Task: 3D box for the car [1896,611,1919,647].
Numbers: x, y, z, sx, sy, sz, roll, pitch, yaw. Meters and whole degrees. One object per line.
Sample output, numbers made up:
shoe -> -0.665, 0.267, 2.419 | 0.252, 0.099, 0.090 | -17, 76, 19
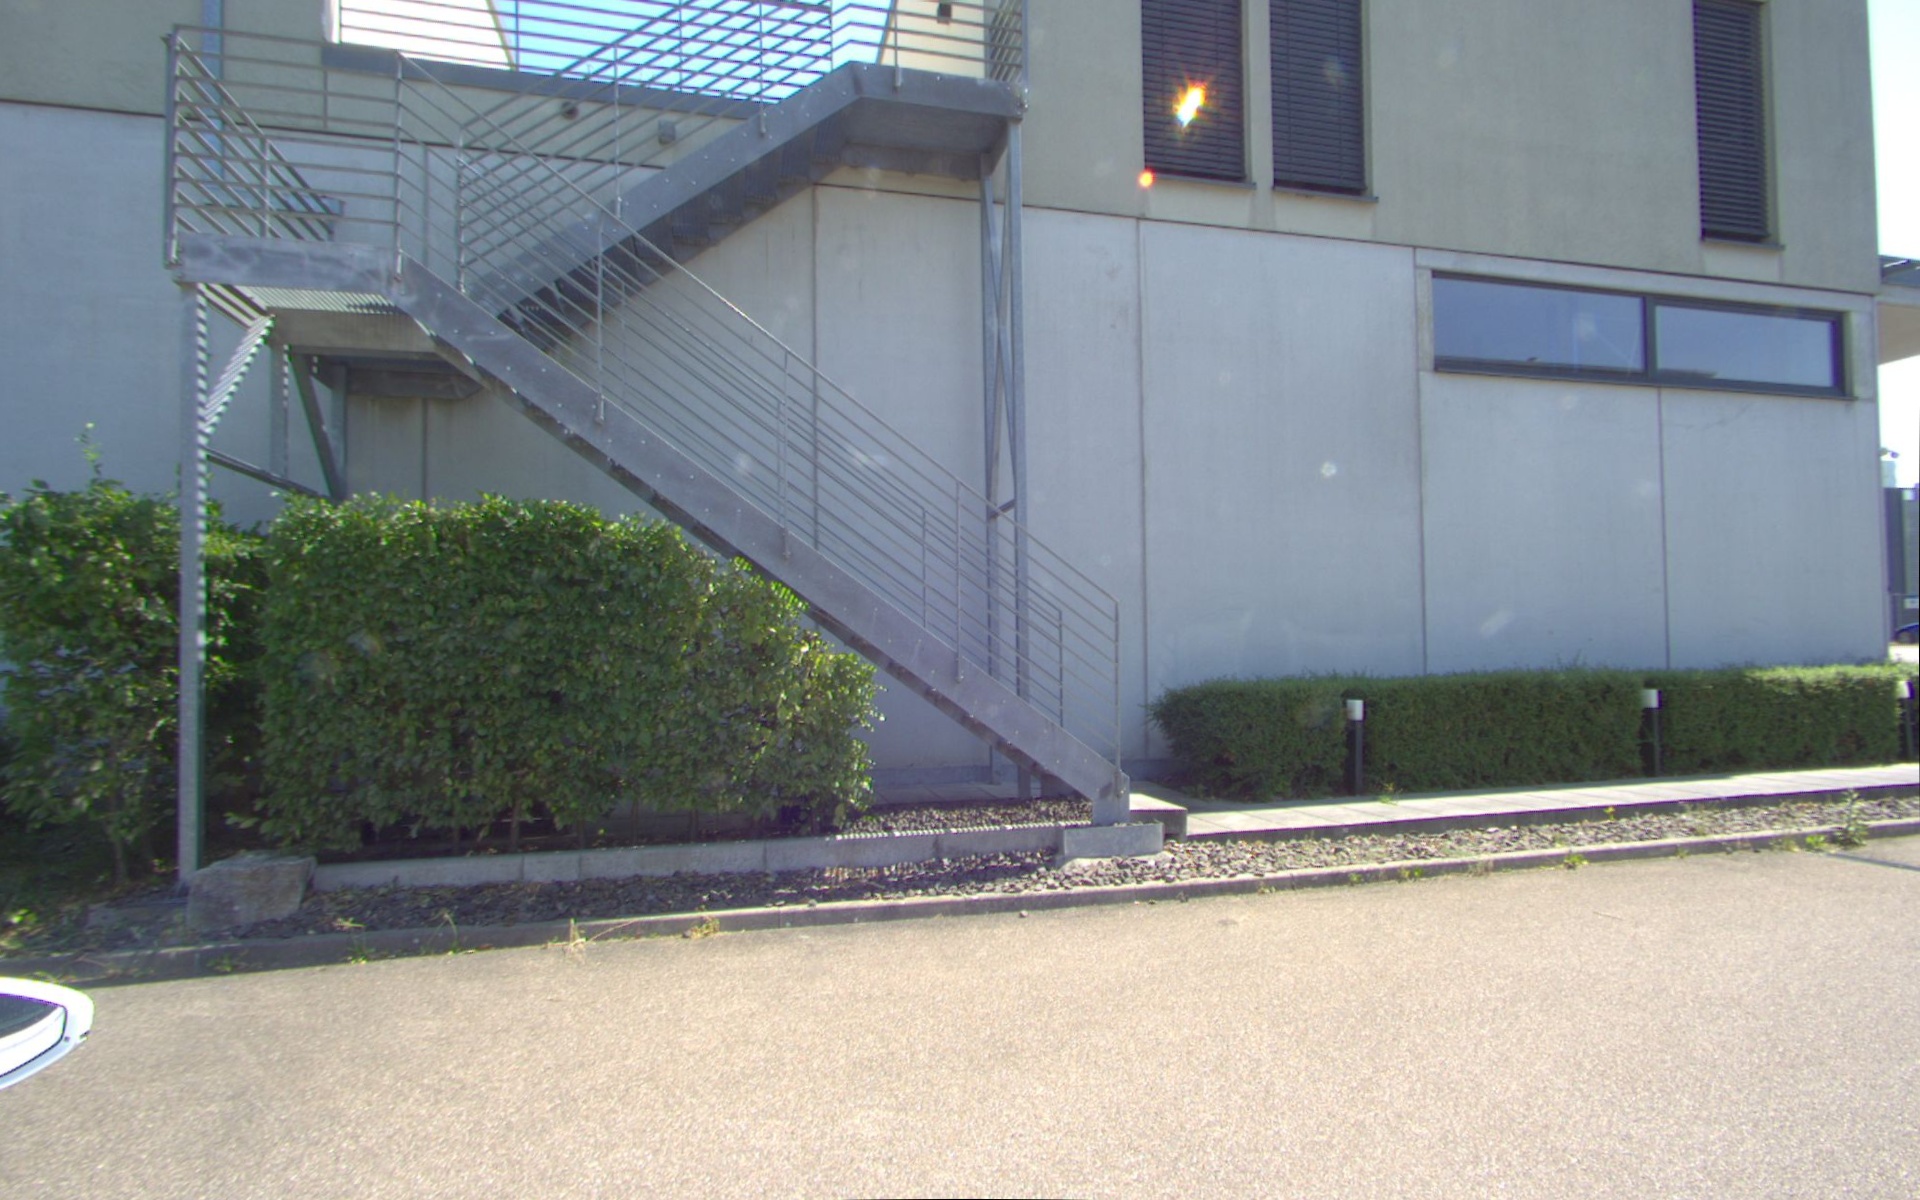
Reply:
car -> 39.621, 1.144, 39.258 | 1.715, 1.433, 4.450 | 1, -2, 0
